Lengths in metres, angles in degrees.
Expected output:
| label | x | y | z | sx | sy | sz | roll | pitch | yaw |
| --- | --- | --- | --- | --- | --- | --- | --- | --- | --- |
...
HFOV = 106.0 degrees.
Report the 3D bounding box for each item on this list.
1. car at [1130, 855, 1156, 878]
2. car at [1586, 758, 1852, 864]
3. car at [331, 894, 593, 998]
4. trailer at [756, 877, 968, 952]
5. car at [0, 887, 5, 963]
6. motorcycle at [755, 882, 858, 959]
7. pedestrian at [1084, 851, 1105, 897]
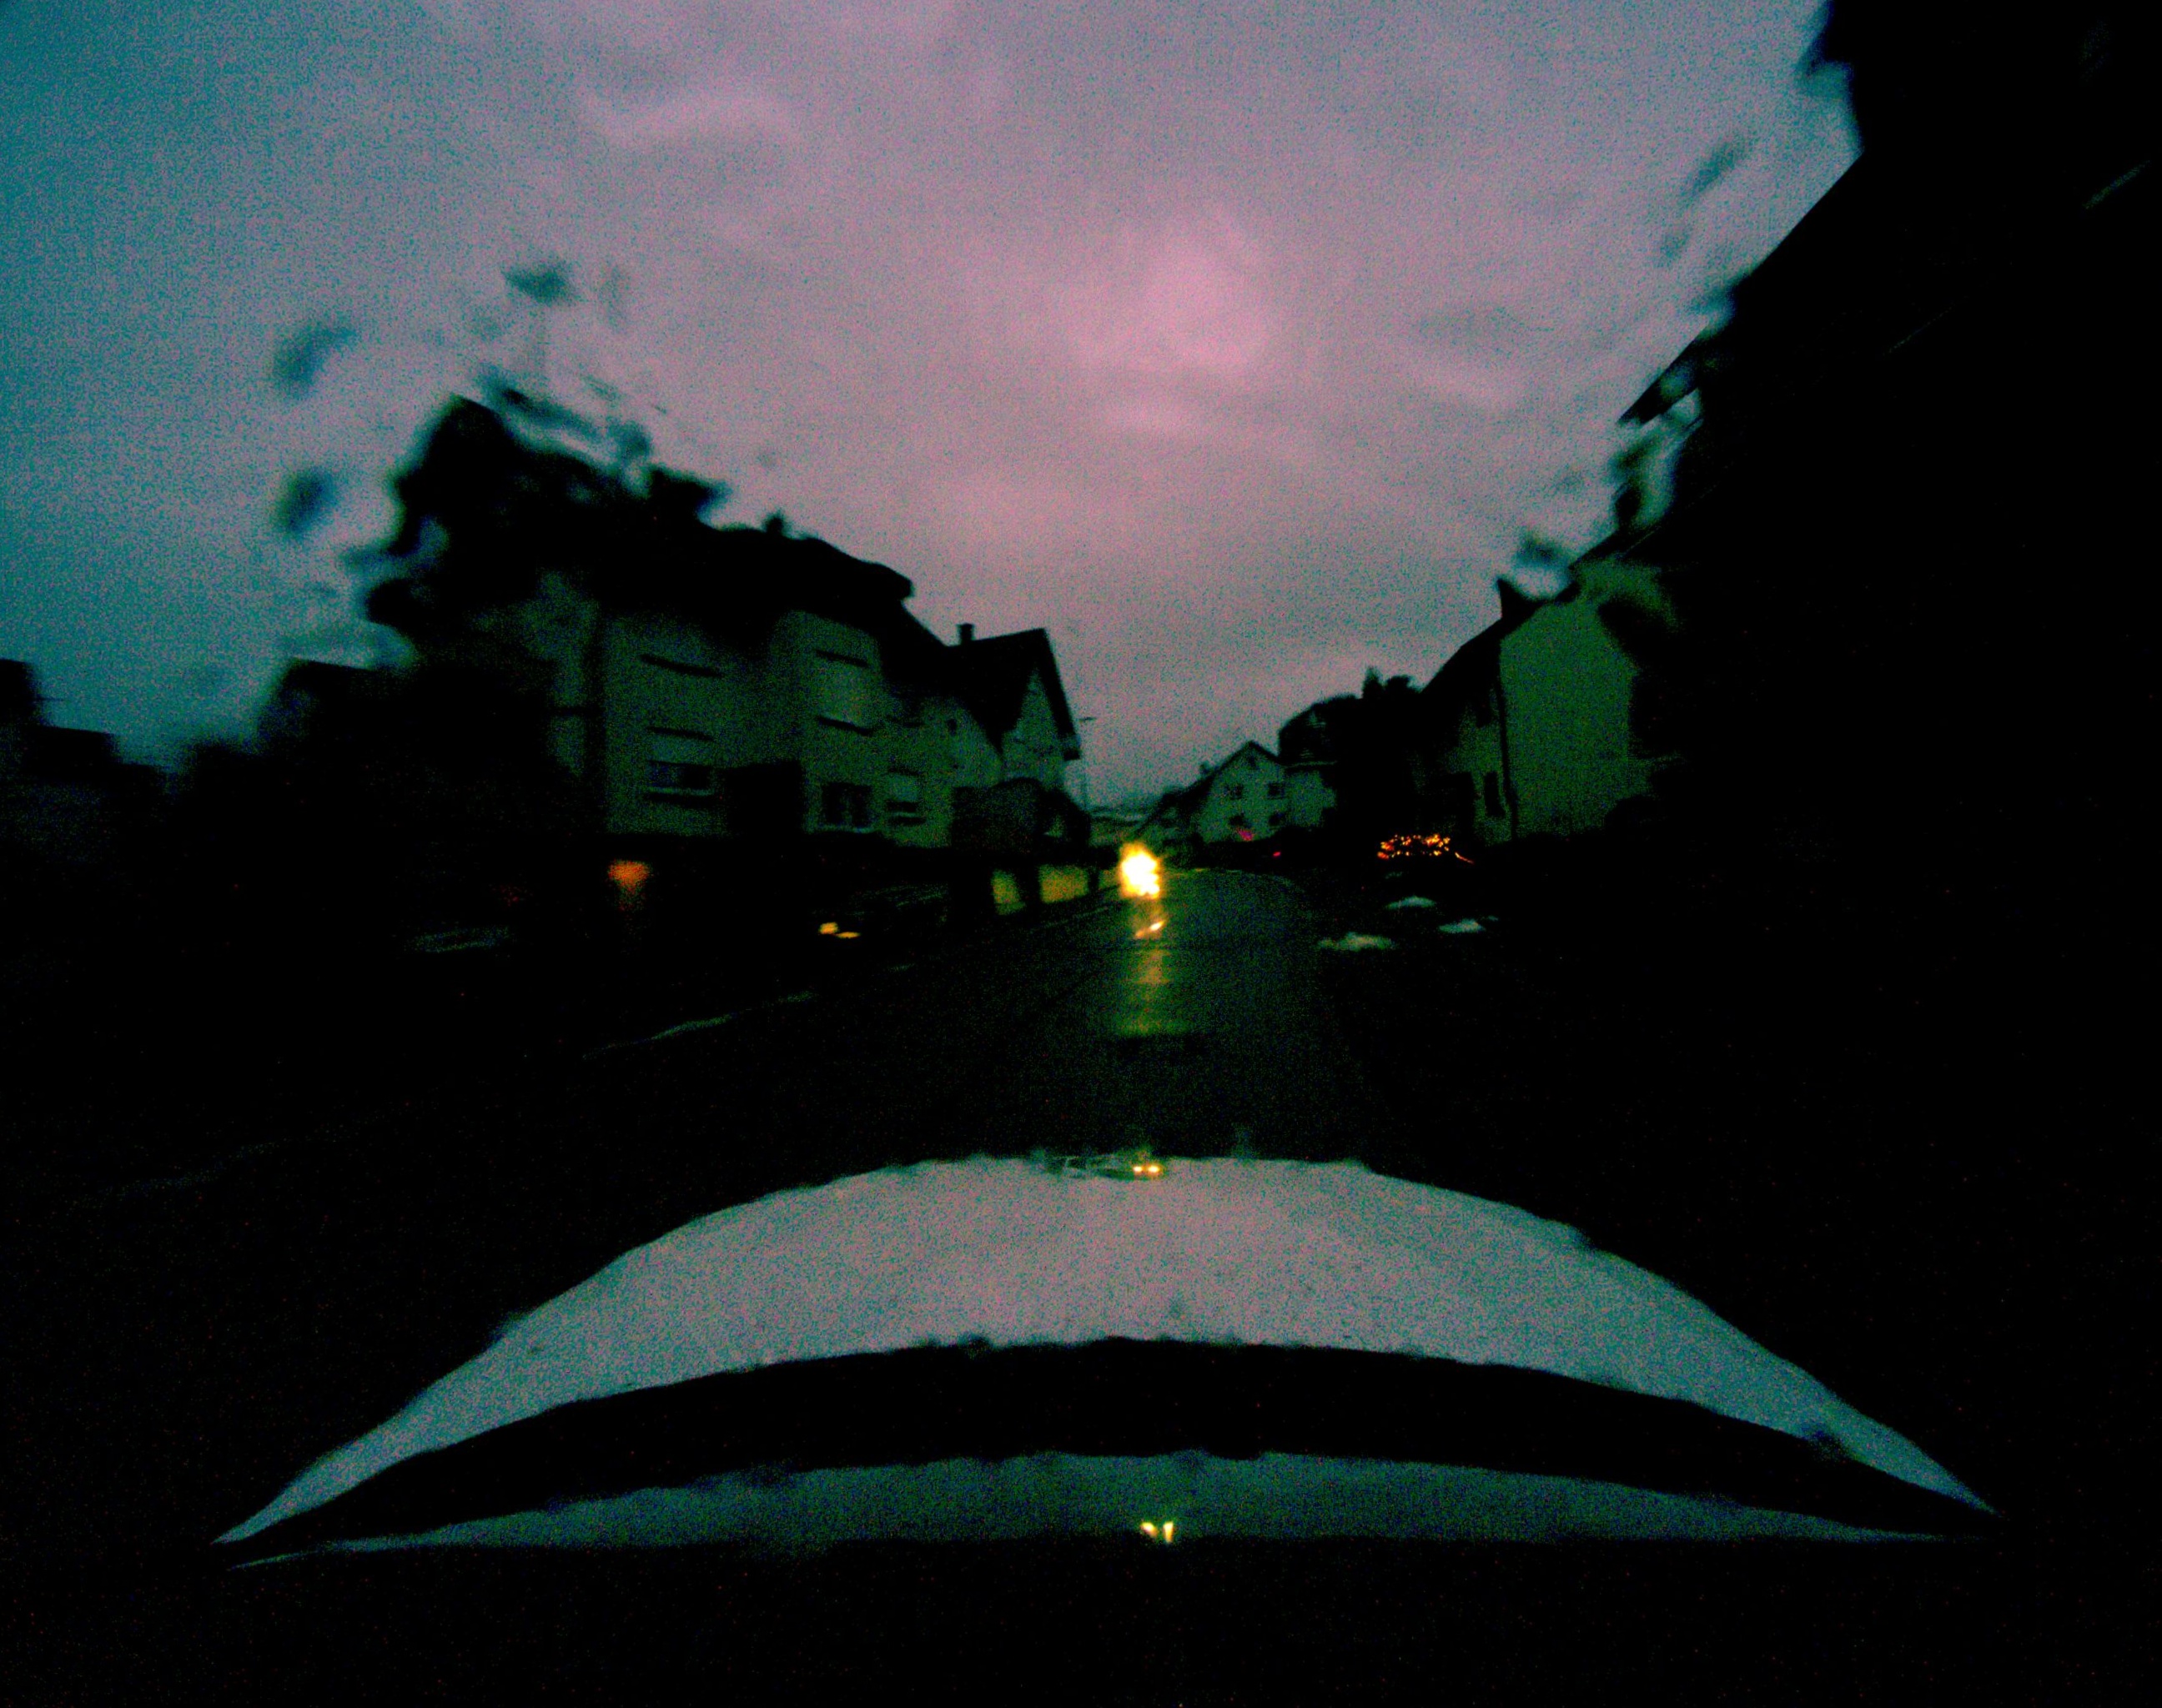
| label | x | y | z | sx | sy | sz | roll | pitch | yaw |
| --- | --- | --- | --- | --- | --- | --- | --- | --- | --- |
| car | 6.021 | 1.191 | 78.914 | 2.099 | 2.027 | 4.993 | -5 | -1 | 8 |
| car | 14.299 | -0.909 | 18.480 | 4.237 | 1.648 | 2.065 | -9 | -1 | 1 |
| car | -10.361 | 1.475 | 13.628 | 3.949 | 1.416 | 1.929 | -3 | -1 | 27 |
| trailer | -4.531 | 1.233 | 17.805 | 2.041 | 1.169 | 4.891 | -4 | -1 | 19 |
| car | -30.287 | 1.867 | 20.278 | 1.974 | 2.014 | 4.025 | -3 | -2 | 33 |
| motorcycle | -5.240 | 1.211 | 15.457 | 1.063 | 1.298 | 2.212 | -1 | -1 | -41 |
| pedestrian | 0.523 | 0.775 | 31.165 | 0.593 | 1.733 | 0.815 | -3 | -2 | 14 |
